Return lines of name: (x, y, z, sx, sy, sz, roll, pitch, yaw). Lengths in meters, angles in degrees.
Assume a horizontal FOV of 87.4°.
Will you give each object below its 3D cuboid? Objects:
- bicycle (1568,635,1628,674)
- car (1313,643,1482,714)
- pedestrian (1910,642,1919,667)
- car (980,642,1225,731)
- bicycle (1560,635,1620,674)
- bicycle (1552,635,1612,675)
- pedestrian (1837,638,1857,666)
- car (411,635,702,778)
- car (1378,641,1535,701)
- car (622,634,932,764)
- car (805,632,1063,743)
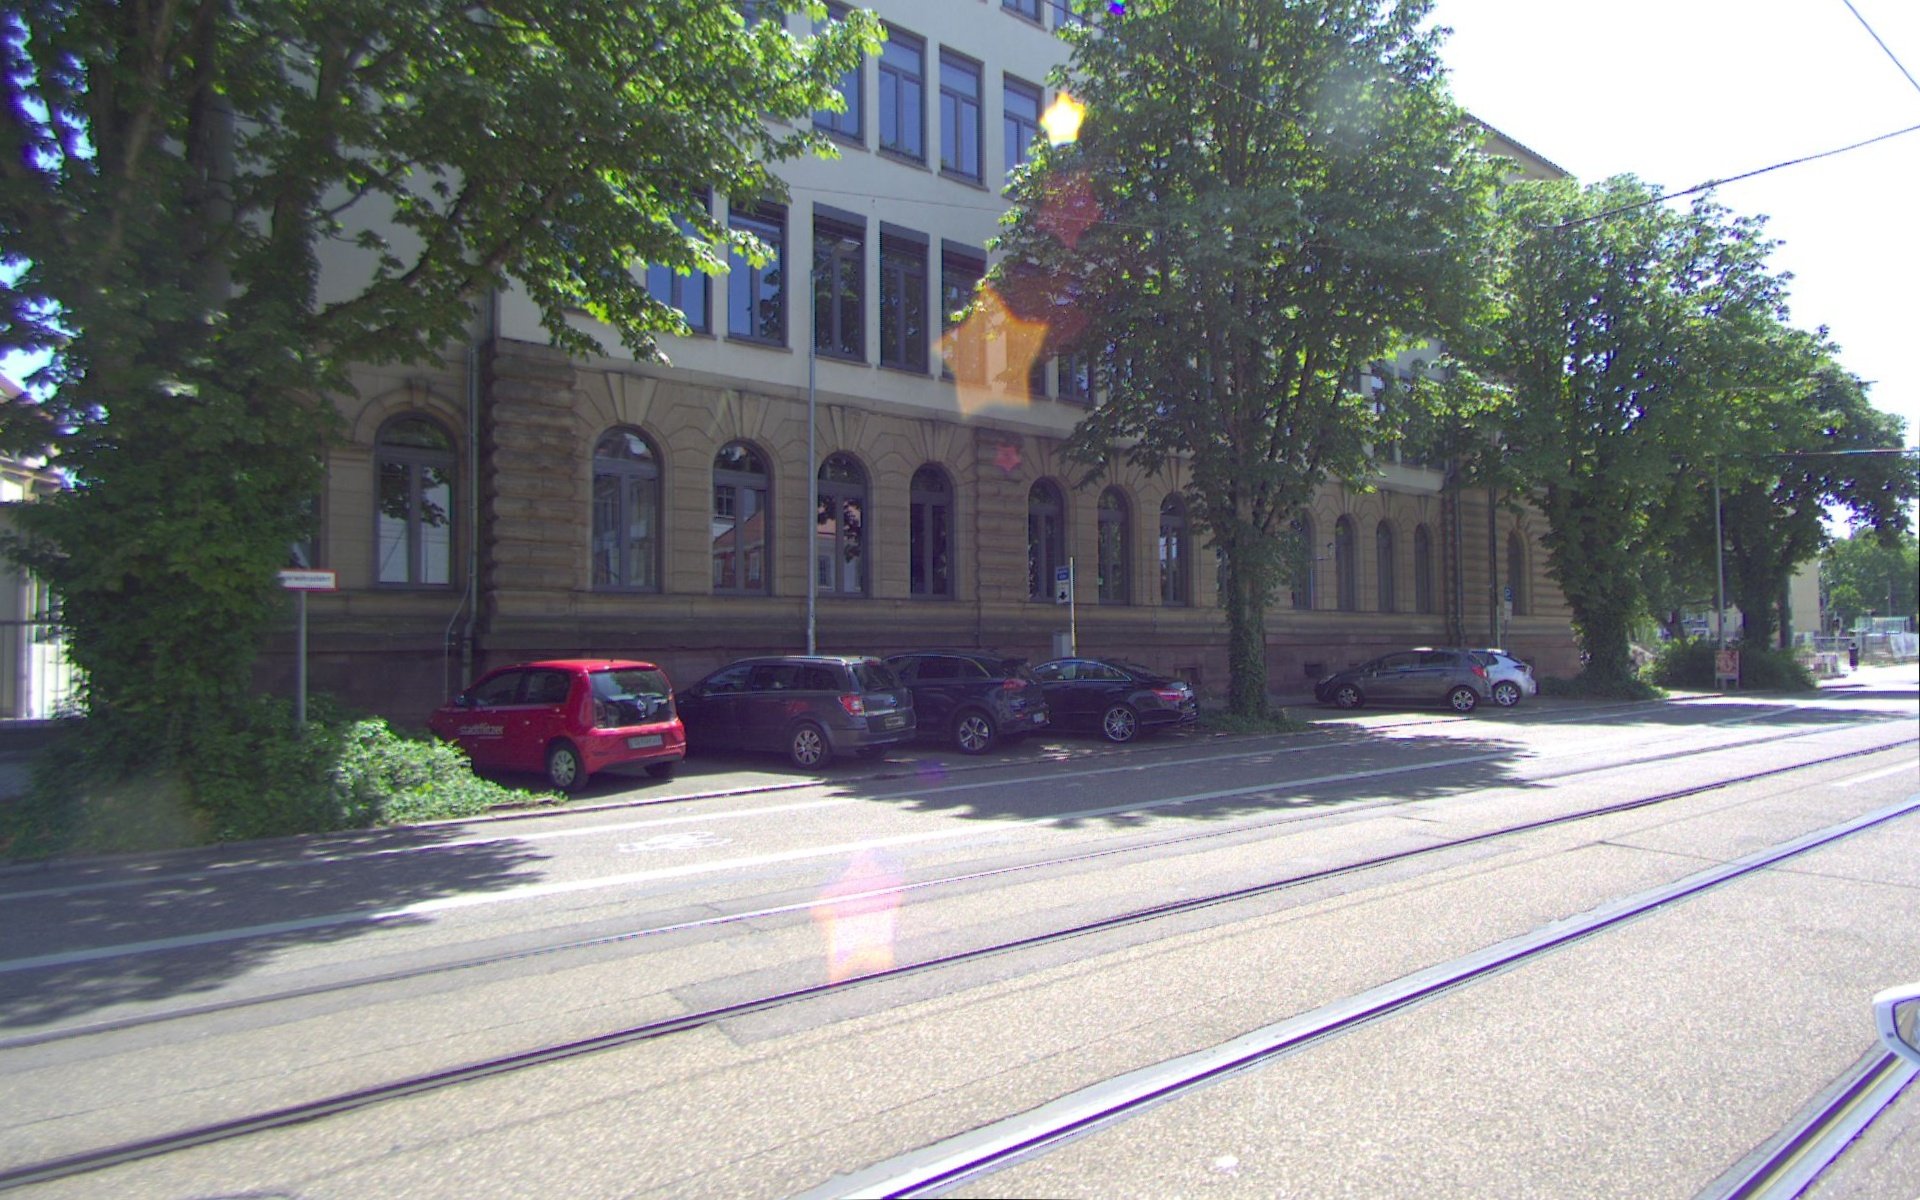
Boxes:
bicycle: (28.843, 2.472, 45.480, 0.545, 1.714, 2.311, 2, -3, -29)
car: (10.499, 1.834, 24.145, 3.609, 1.540, 1.668, 0, -2, 27)
pedestrian: (66.595, 3.800, 69.922, 0.394, 1.728, 0.561, 2, -3, -42)
car: (2.434, 1.458, 17.421, 3.864, 1.392, 1.667, -2, -3, 30)
bicycle: (28.312, 2.447, 45.174, 0.545, 1.714, 2.311, 2, -3, -29)
bicycle: (27.783, 2.447, 44.887, 0.545, 1.714, 2.311, 2, -3, -29)
pedestrian: (52.689, 3.082, 59.660, 0.814, 1.623, 0.604, 1, -2, -25)
car: (-5.052, 1.228, 12.556, 3.292, 1.536, 1.667, -1, -2, 29)
car: (12.708, 1.780, 25.837, 3.484, 1.424, 1.700, -1, -3, 27)
car: (-2.670, 1.323, 14.537, 4.241, 1.605, 1.668, 0, -2, 26)
car: (-0.423, 1.357, 16.172, 3.747, 1.597, 1.792, -2, -3, 26)
